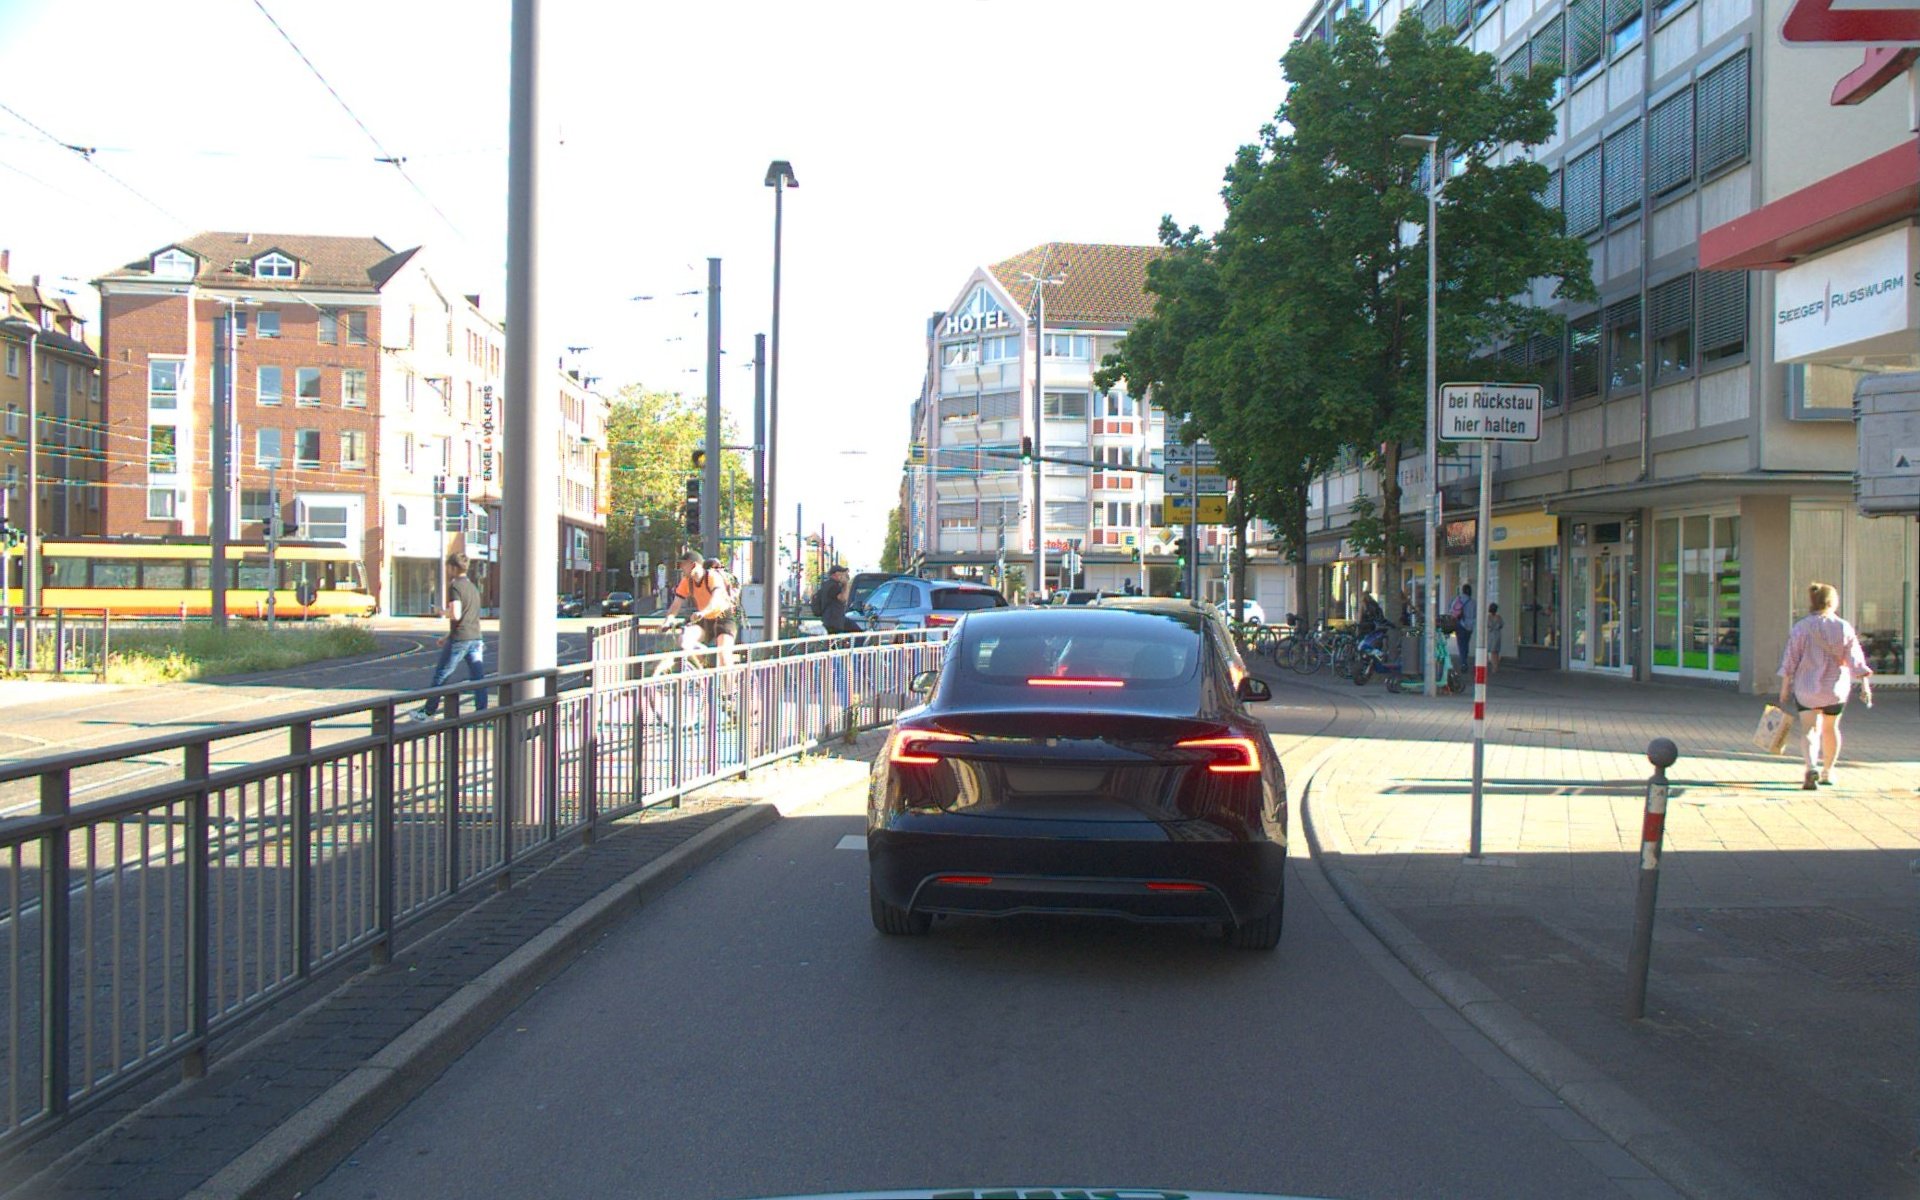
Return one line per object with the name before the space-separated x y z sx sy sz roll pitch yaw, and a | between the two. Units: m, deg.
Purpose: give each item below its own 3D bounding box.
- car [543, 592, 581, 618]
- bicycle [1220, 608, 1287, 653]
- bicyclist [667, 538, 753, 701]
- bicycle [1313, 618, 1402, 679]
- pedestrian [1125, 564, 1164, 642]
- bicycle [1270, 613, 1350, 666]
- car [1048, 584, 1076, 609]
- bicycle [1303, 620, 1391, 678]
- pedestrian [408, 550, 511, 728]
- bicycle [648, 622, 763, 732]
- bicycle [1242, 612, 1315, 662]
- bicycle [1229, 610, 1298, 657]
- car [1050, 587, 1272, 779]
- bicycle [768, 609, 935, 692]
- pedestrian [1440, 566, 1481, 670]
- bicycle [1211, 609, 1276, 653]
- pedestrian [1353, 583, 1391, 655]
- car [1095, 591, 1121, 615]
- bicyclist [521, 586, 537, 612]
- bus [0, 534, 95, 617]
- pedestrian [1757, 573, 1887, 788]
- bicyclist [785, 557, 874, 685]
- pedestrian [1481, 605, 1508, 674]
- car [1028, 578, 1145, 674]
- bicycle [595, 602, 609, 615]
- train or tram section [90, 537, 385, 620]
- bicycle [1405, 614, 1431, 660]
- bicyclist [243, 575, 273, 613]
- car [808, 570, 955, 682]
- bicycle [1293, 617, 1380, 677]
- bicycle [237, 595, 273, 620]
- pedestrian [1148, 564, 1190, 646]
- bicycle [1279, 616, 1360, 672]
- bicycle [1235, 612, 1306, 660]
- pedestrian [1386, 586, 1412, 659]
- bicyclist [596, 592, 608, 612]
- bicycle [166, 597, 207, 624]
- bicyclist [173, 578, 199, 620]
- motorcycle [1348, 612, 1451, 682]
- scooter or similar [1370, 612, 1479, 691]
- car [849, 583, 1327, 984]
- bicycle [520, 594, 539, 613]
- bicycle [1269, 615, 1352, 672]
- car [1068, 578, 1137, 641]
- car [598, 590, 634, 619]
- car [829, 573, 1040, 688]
car | -24.603 0.313 102.423 1.677 1.553 4.031 1 0 -5
bicycle | 7.358 0.771 41.477 1.616 1.118 0.350 0 0 1
bicyclist | -2.433 0.186 16.196 0.382 1.548 1.044 1 -1 18
bicycle | 7.476 0.914 31.118 1.620 1.118 0.349 1 -1 -11
pedestrian | 4.950 0.078 44.378 0.902 2.049 0.972 1 -1 -1
bicycle | 7.496 0.845 35.440 1.616 1.118 0.350 1 -1 1
car | 4.739 -0.153 76.854 0.902 1.119 1.869 1 0 16
bicycle | 7.379 0.940 31.538 1.620 1.079 0.349 1 -1 -11
pedestrian | -4.952 0.379 16.371 0.582 1.710 0.770 0 -1 41
bicycle | -2.463 0.725 16.164 0.394 1.011 1.603 1 0 19
bicycle | 7.379 0.861 38.391 1.616 1.118 0.350 1 -1 1
bicycle | 7.424 0.815 40.432 1.616 1.118 0.350 1 -1 1
car | 1.775 0.639 15.032 1.714 1.480 4.003 1 0 6
bicycle | -1.450 0.678 22.414 2.313 1.072 0.622 1 -1 -39
pedestrian | 10.049 0.358 33.216 0.648 2.049 0.579 1 -1 1
bicycle | 7.288 0.796 42.569 1.616 1.118 0.350 1 -1 1
pedestrian | 9.772 0.442 39.271 0.685 1.691 0.777 1 -1 -1
car | 7.082 0.159 78.896 0.902 1.119 1.869 -1 0 16
bicyclist | -26.634 -0.055 102.136 0.767 1.590 0.746 0 0 1
bus | -36.601 -0.945 65.849 3.467 3.185 2.753 1 0 -22
pedestrian | 7.119 0.641 13.697 0.871 1.696 0.808 1 -1 23
bicyclist | -1.748 0.276 22.126 0.753 1.657 0.964 1 -1 -39
pedestrian | 10.693 0.788 33.088 0.381 1.367 0.513 1 -1 1
car | 2.514 0.506 33.628 1.568 1.809 3.974 1 0 -8
bicycle | -28.932 0.688 133.696 0.518 1.107 2.225 1 0 1
train or tram section | -30.060 -0.819 69.160 11.100 3.185 2.780 1 0 -28
bicycle | 10.879 0.873 39.318 0.325 1.052 1.257 1 0 3
bicyclist | -28.513 -0.246 67.179 0.880 1.529 0.696 1 -1 -1
car | -1.617 0.483 32.600 1.962 2.049 3.981 0 0 -17
bicycle | 7.275 0.906 31.960 1.620 1.118 0.349 1 -1 -11
bicycle | -28.533 0.313 67.003 0.513 0.988 2.246 1 0 -1
pedestrian | 5.285 0.136 41.943 0.902 2.049 0.972 1 -1 -1
bicycle | 7.428 0.911 34.171 1.620 1.118 0.349 1 -1 -11
bicycle | 7.395 0.862 39.418 1.616 1.118 0.350 1 -1 1
pedestrian | 10.471 0.535 39.441 0.515 1.740 0.403 1 -1 4
bicyclist | -28.957 0.138 133.770 0.767 1.590 0.746 1 -1 1
bicycle | -28.228 0.381 60.384 0.437 0.988 2.246 1 0 -1
bicyclist | -28.231 -0.037 60.327 0.620 1.529 0.696 1 -1 -1
motorcycle | 7.805 0.837 29.387 1.673 1.194 0.541 1 -1 -3
scooter or similar | 7.660 0.836 27.284 1.610 1.236 0.644 1 -1 30
car | 0.624 0.703 8.293 1.791 1.481 4.002 1 0 4
bicycle | -26.603 0.209 102.145 0.518 1.107 2.284 0 0 1
bicycle | 7.092 0.883 33.485 1.620 1.118 0.349 1 -1 -11
car | 4.244 0.285 49.804 1.685 1.781 3.753 1 0 -1
car | -21.933 0.275 105.653 1.663 1.762 3.704 1 0 -3
car | -0.500 0.454 26.468 1.859 1.691 4.125 1 0 -25
